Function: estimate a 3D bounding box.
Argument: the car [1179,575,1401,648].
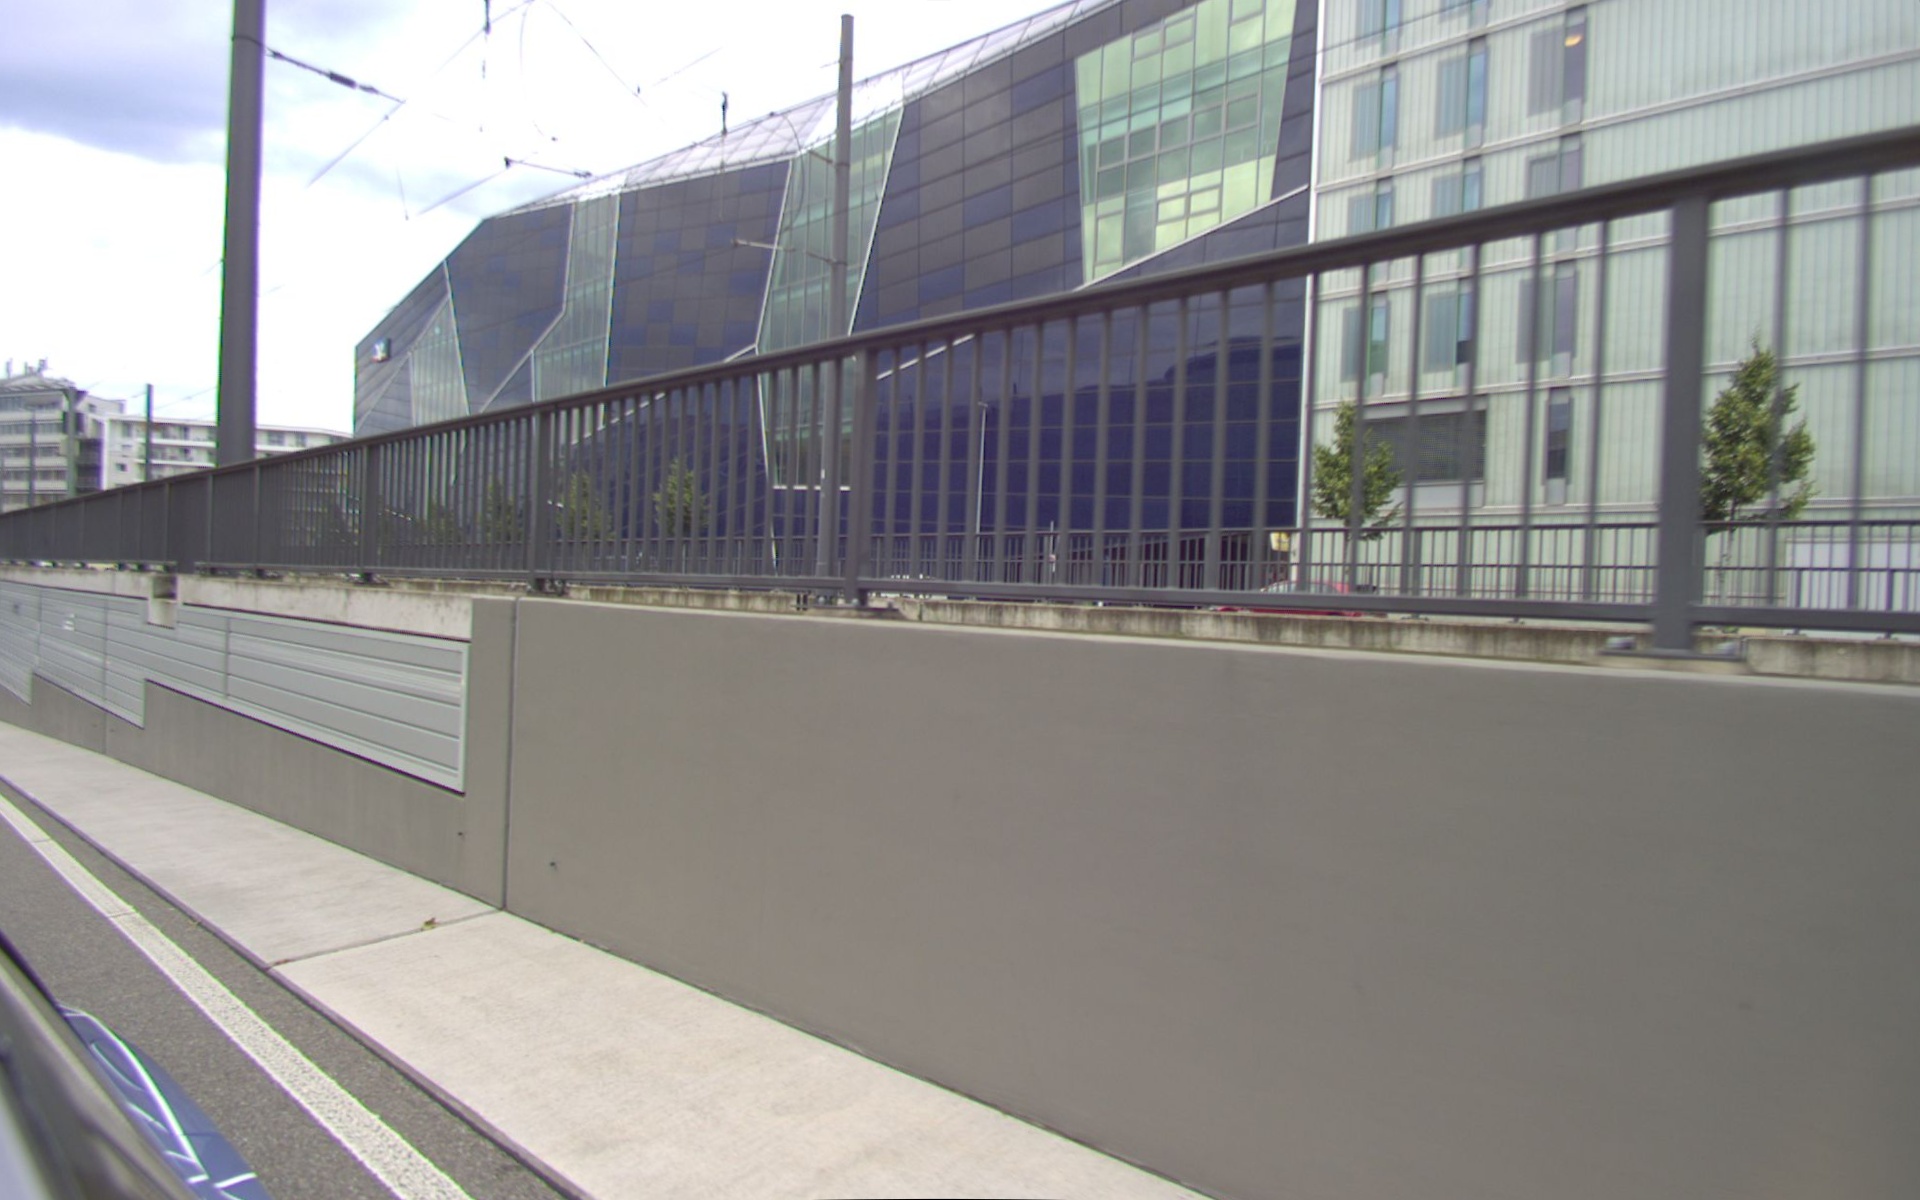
[{"bbox_3d":[7.923,0.291,24.610,4.767,1.605,1.971,0,-1,43],"label":"car"}]

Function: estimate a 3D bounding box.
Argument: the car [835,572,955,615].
[{"bbox_3d":[-2.656,-0.220,40.713,4.762,1.605,1.973,0,-1,40],"label":"car"}]

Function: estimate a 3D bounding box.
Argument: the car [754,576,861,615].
[{"bbox_3d":[-6.675,-0.174,44.105,4.762,1.605,1.973,0,-1,40],"label":"car"}]
